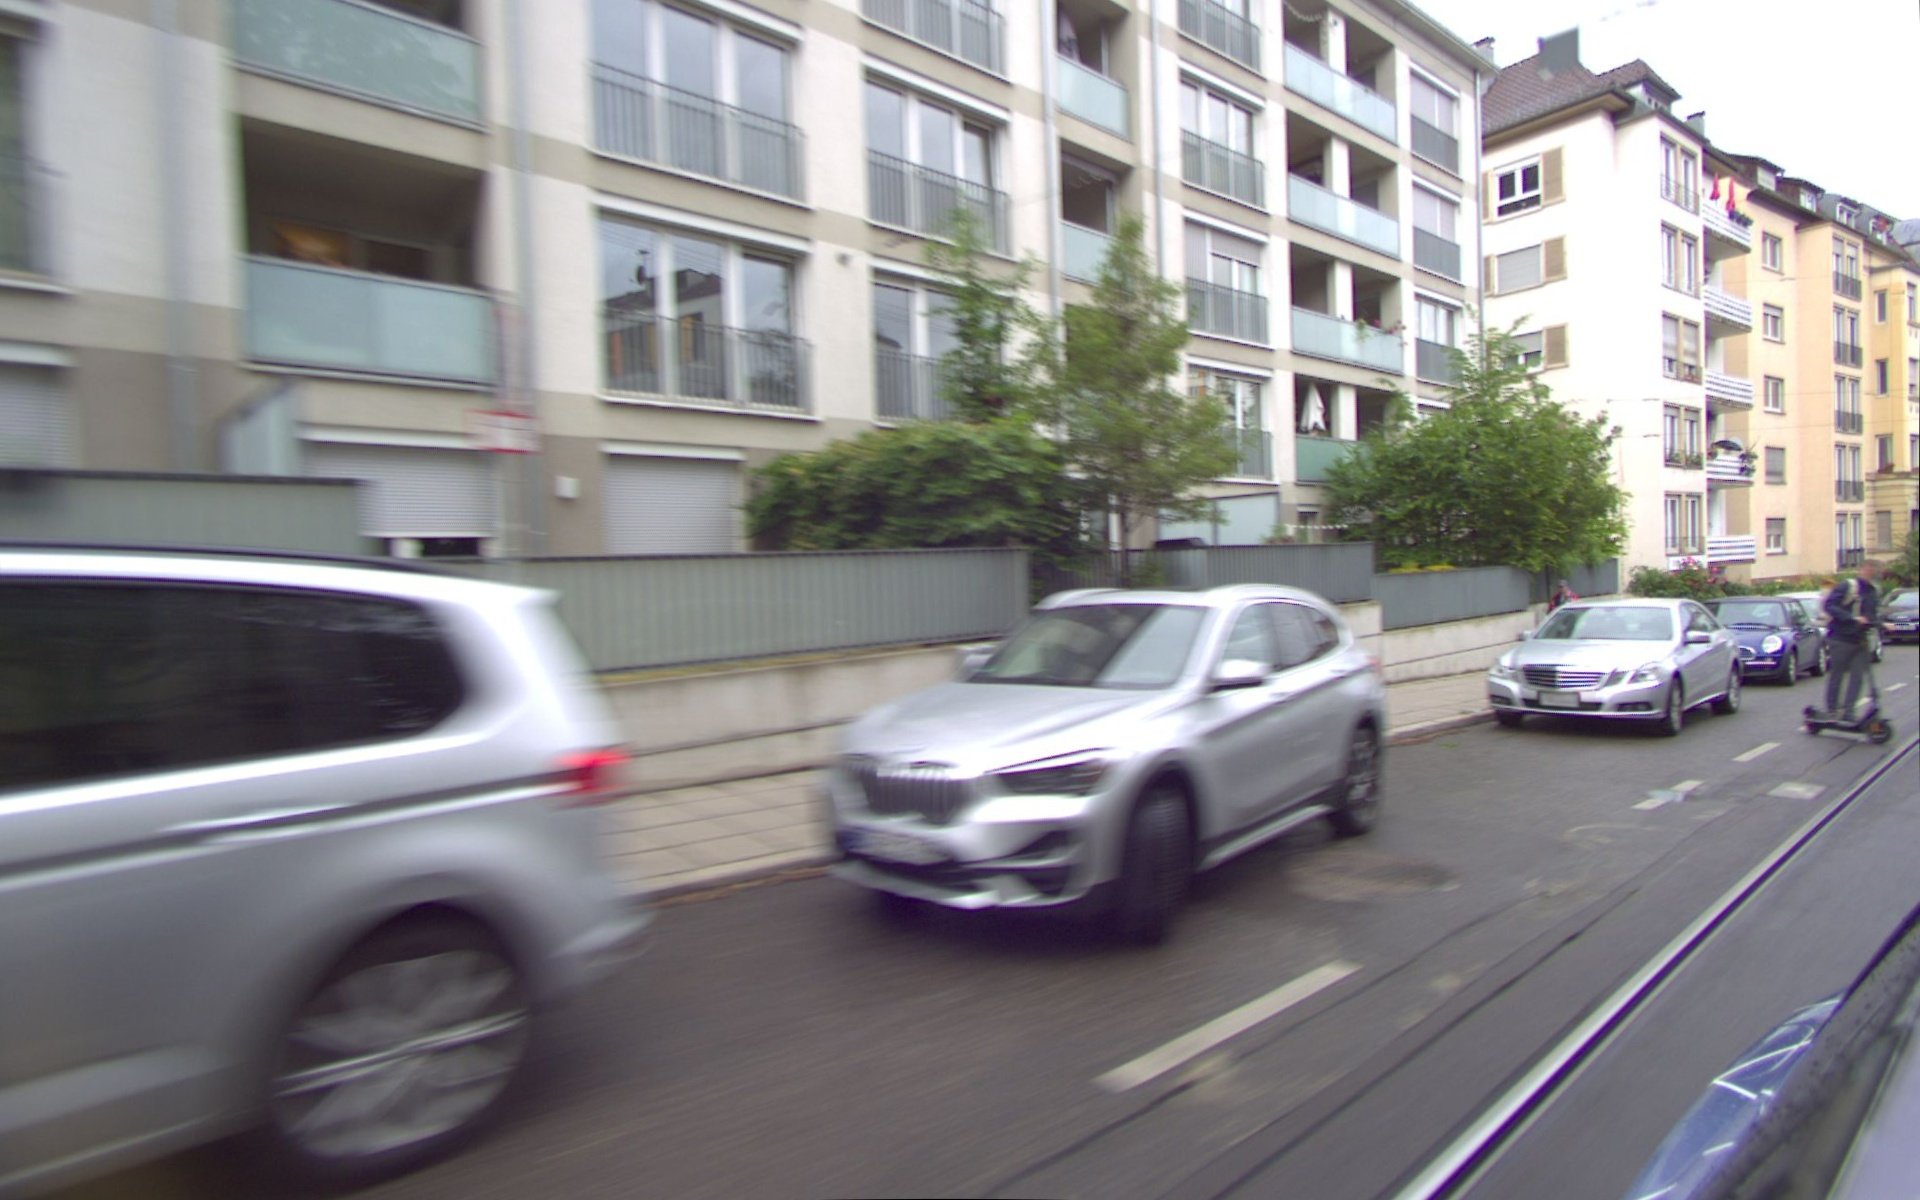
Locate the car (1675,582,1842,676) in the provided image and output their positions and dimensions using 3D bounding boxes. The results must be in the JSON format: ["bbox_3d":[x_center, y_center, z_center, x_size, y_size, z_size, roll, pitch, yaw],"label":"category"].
[{"bbox_3d":[13.672,0.444,17.280,3.453,1.442,1.599,0,0,-40],"label":"car"}]

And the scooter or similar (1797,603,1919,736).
[{"bbox_3d":[9.330,0.681,10.405,0.635,1.277,1.086,-1,0,10],"label":"scooter or similar"}]

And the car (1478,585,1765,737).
[{"bbox_3d":[8.296,0.618,12.502,4.707,1.535,1.860,0,0,-42],"label":"car"}]

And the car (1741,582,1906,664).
[{"bbox_3d":[17.324,0.414,20.245,4.310,1.486,1.722,0,0,-38],"label":"car"}]

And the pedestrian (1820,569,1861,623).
[{"bbox_3d":[26.600,-0.124,30.566,0.897,1.588,0.668,0,3,-34],"label":"pedestrian"}]

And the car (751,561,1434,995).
[{"bbox_3d":[1.153,0.658,6.119,1.973,1.605,4.498,0,0,41],"label":"car"}]

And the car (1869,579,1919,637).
[{"bbox_3d":[25.862,0.185,26.796,4.025,1.471,1.800,-1,0,-35],"label":"car"}]

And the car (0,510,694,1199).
[{"bbox_3d":[-3.079,0.640,2.198,1.832,1.648,4.590,0,0,44],"label":"car"}]

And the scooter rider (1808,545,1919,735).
[{"bbox_3d":[9.326,0.396,10.405,0.635,1.881,0.688,-1,0,10],"label":"scooter rider"}]

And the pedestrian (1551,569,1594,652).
[{"bbox_3d":[12.235,0.199,20.232,0.574,1.606,0.567,2,1,17],"label":"pedestrian"}]

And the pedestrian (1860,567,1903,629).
[{"bbox_3d":[26.929,-0.069,29.568,0.652,1.734,0.718,0,3,-34],"label":"pedestrian"}]
